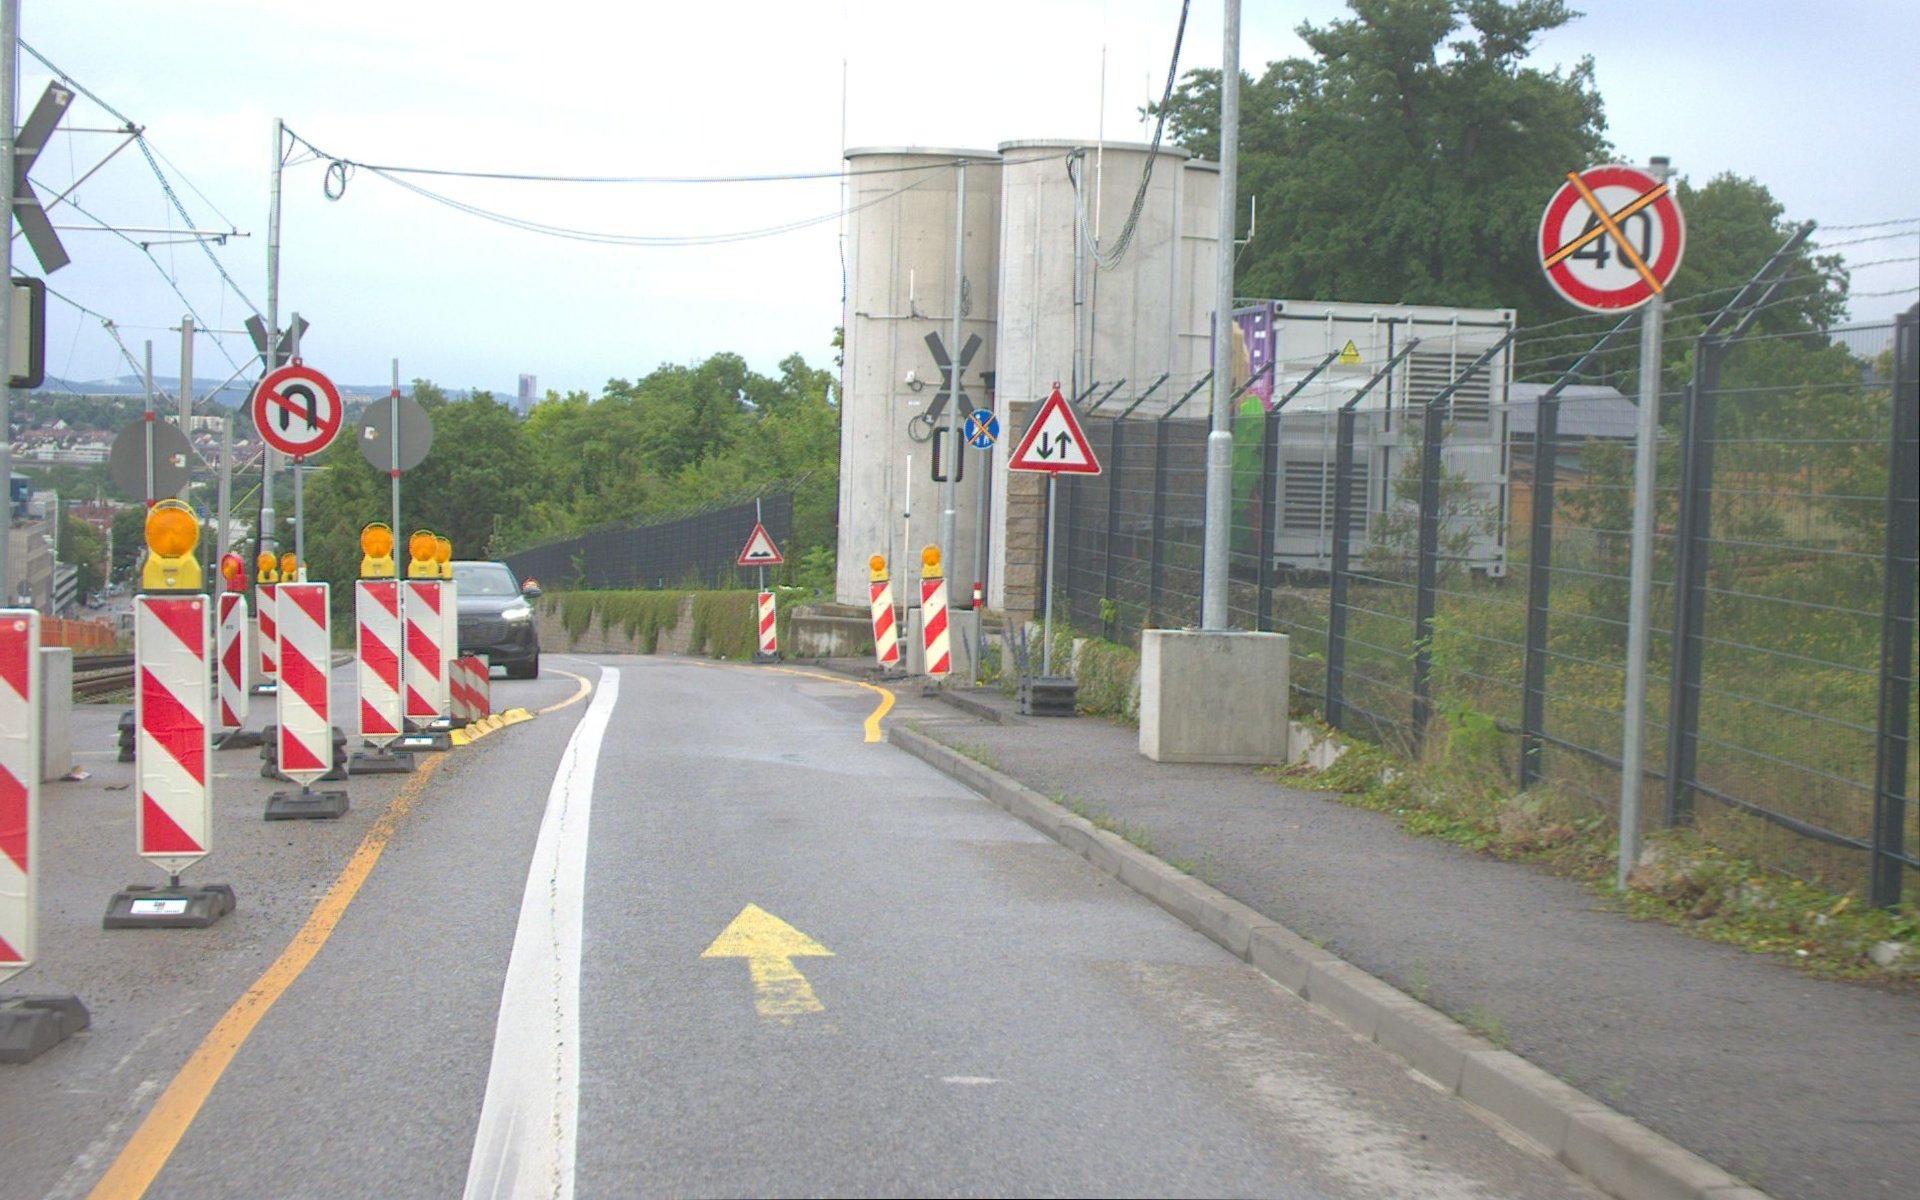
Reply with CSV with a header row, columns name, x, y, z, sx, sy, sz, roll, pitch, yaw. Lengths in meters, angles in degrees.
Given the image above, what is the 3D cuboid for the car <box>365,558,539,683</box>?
name,x,y,z,sx,sy,sz,roll,pitch,yaw
car,-7.231,0.267,48.579,1.993,1.672,4.490,1,0,-14
